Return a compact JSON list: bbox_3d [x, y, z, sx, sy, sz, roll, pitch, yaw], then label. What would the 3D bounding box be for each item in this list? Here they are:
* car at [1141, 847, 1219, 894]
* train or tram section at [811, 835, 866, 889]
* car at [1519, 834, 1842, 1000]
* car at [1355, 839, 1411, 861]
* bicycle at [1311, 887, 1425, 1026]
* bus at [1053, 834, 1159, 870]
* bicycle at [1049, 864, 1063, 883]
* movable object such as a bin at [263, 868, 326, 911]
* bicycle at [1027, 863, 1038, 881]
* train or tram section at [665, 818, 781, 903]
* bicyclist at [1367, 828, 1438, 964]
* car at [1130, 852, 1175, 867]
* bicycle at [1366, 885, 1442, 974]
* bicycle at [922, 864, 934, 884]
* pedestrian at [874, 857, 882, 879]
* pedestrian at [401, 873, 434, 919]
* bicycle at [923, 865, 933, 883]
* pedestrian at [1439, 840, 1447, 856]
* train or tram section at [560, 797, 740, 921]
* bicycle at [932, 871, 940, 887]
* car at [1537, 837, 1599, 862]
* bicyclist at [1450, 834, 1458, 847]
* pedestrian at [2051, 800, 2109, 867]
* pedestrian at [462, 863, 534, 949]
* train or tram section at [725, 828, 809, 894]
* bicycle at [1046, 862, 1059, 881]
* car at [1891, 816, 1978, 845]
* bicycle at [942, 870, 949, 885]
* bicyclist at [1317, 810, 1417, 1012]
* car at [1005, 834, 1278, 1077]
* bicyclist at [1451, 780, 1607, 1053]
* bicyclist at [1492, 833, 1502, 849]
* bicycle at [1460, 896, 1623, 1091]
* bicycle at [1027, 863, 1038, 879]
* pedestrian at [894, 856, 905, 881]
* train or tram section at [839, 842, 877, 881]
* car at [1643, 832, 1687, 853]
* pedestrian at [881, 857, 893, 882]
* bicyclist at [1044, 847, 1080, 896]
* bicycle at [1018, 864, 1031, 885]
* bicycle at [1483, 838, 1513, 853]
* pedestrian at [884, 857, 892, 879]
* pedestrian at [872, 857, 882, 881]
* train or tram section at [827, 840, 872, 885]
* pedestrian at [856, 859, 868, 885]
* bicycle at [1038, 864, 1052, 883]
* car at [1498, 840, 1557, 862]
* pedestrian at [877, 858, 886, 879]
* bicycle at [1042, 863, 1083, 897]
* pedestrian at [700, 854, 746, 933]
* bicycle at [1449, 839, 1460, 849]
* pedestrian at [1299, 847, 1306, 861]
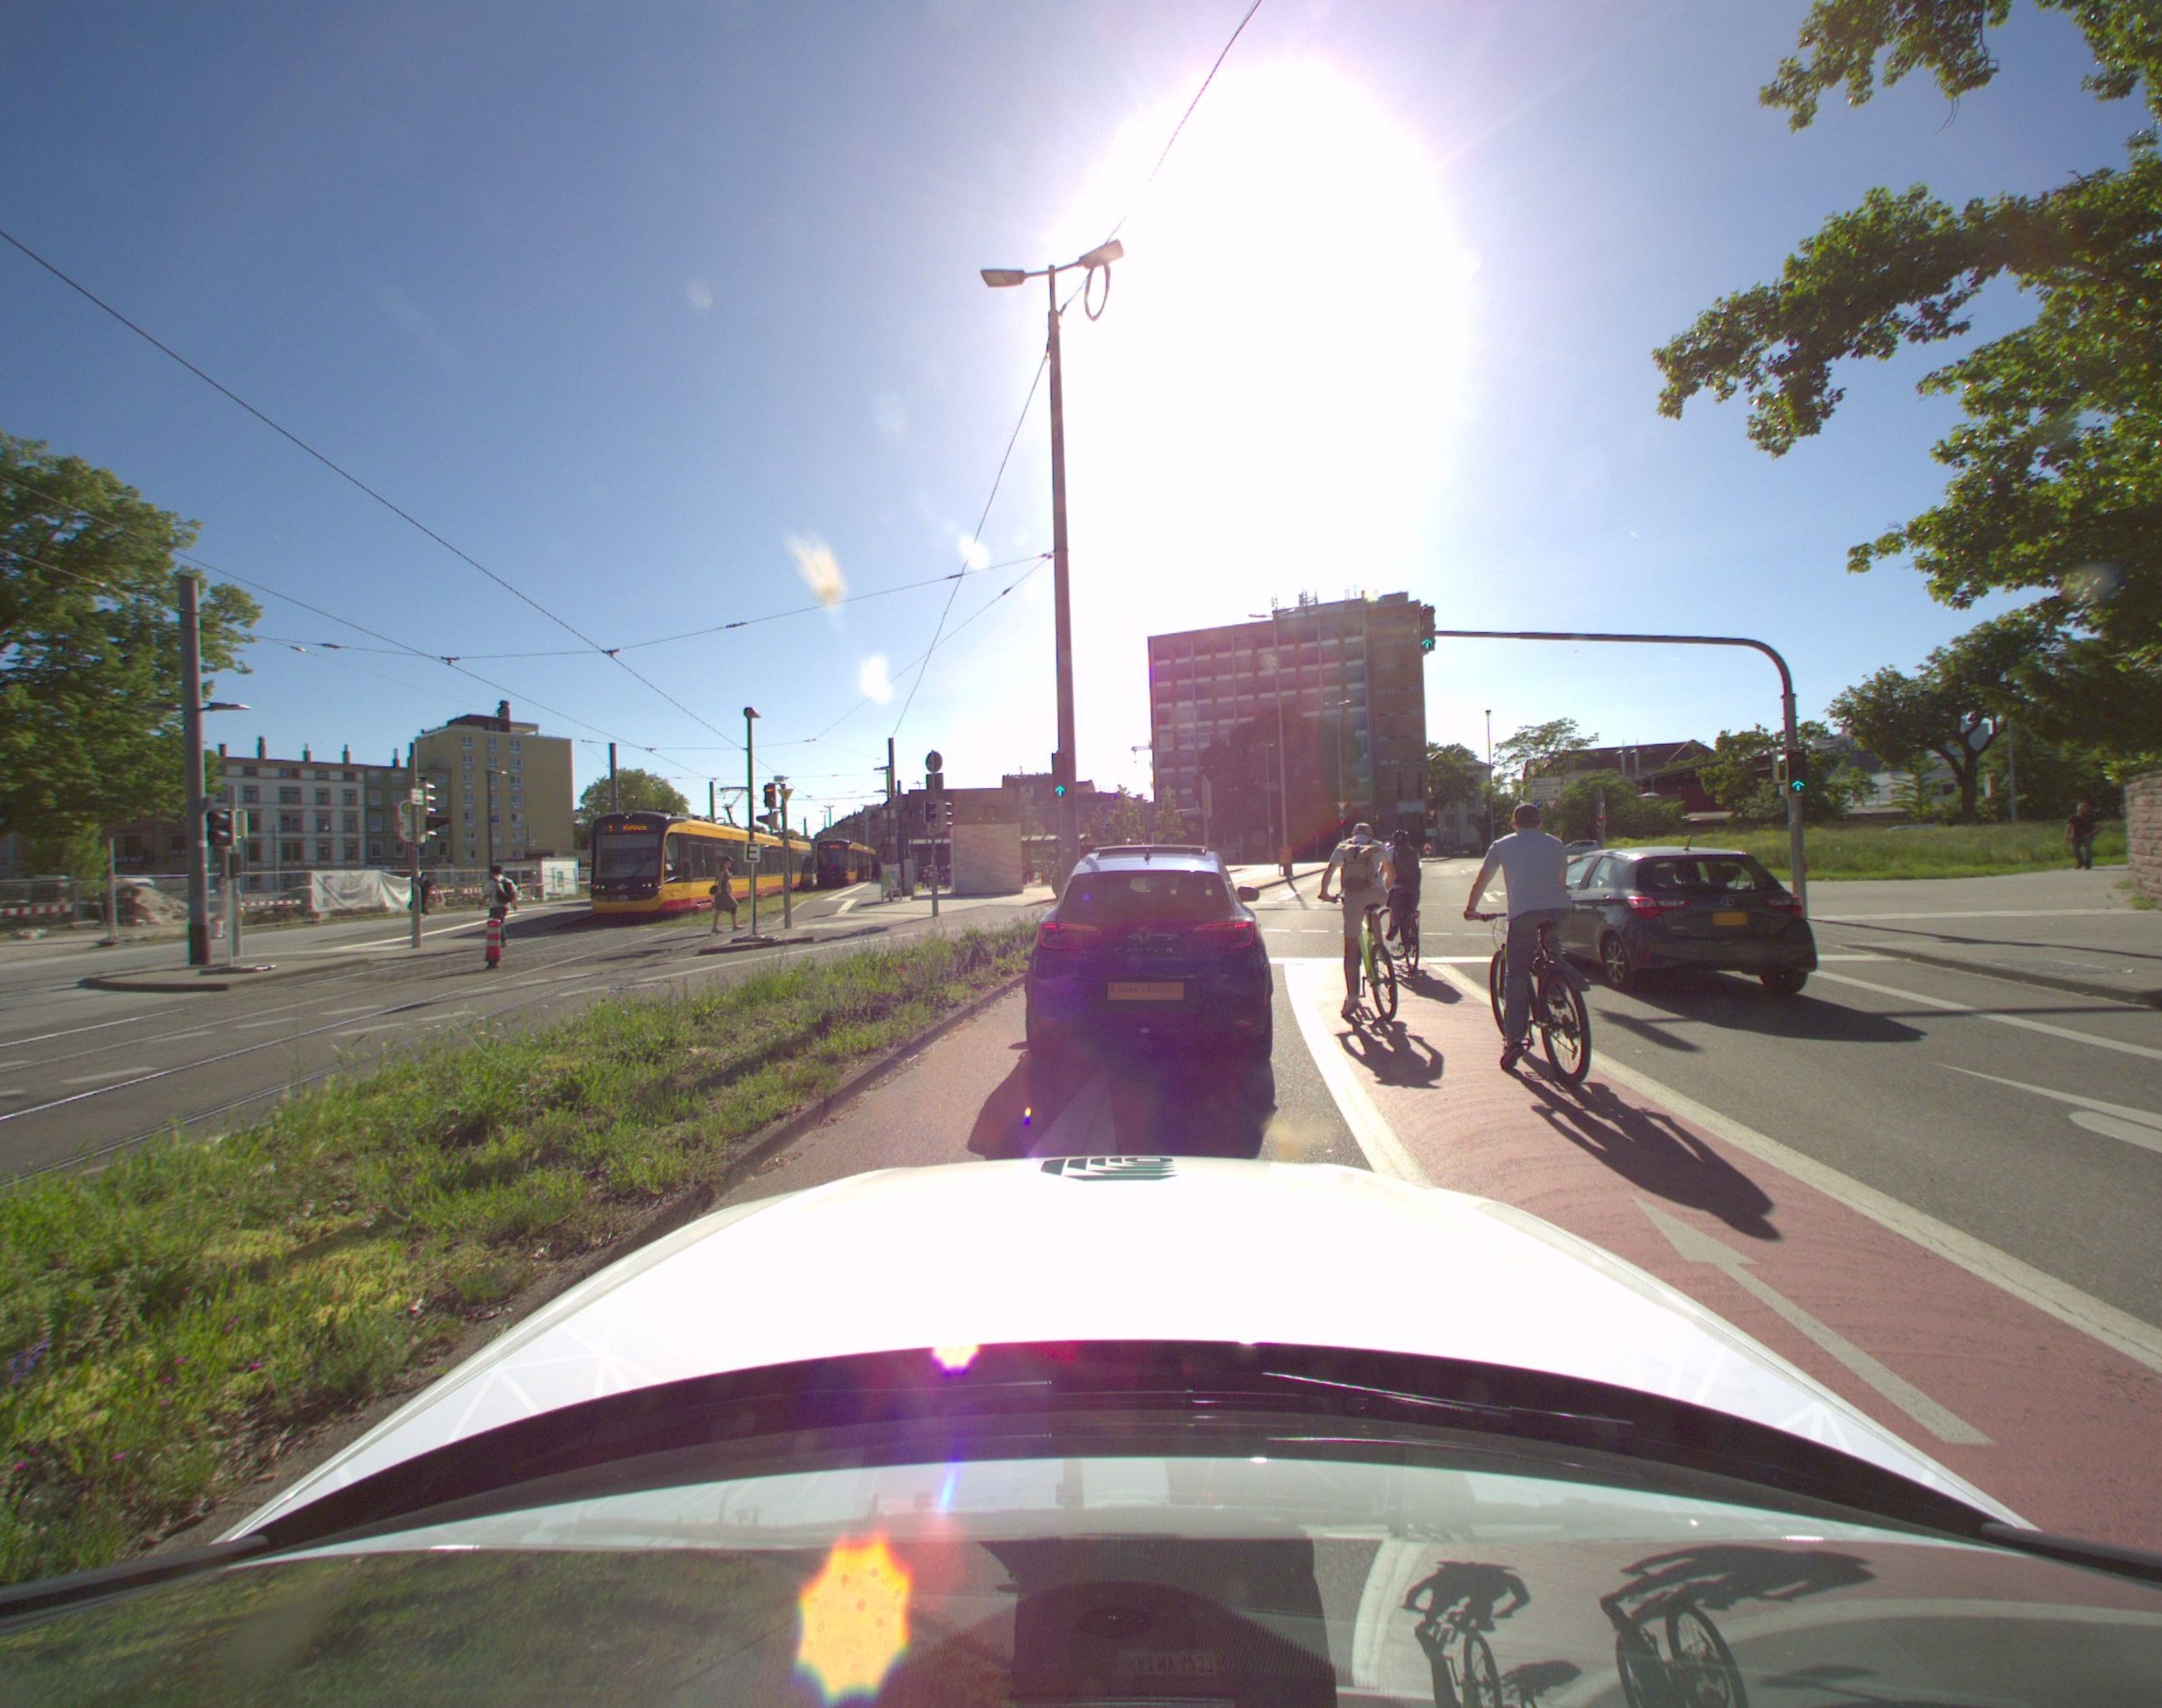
[{"bbox_3d":[3.748,0.566,30.307,1.784,1.393,4.116,-2,2,22],"label":"car"},{"bbox_3d":[-17.598,0.602,59.722,2.873,3.508,10.499,-1,0,-12],"label":"train or tram section"},{"bbox_3d":[6.674,0.588,9.595,1.744,1.541,3.671,1,0,13],"label":"car"},{"bbox_3d":[26.718,-0.350,72.096,4.230,1.568,1.820,-4,-1,-5],"label":"car"},{"bbox_3d":[2.661,0.896,7.740,0.659,1.047,1.895,-2,1,9],"label":"bicycle"},{"bbox_3d":[2.469,-0.119,86.857,12.287,3.396,2.900,-2,-2,42],"label":"bus"},{"bbox_3d":[-1.324,1.043,43.300,0.580,0.961,2.053,-1,-1,-7],"label":"bicycle"},{"bbox_3d":[-53.463,2.409,55.364,3.950,2.796,1.844,-2,-2,26],"label":"movable object such as a bin"},{"bbox_3d":[-2.924,1.090,48.914,0.580,1.088,2.053,-1,-1,-7],"label":"bicycle"},{"bbox_3d":[-16.784,0.302,39.054,2.818,3.508,10.569,-1,0,-11],"label":"train or tram section"},{"bbox_3d":[4.062,0.504,10.350,0.716,1.626,1.059,-1,0,16],"label":"bicyclist"},{"bbox_3d":[7.599,0.630,86.860,4.354,1.522,1.982,-2,-2,40],"label":"car"},{"bbox_3d":[4.126,0.917,10.510,0.717,0.960,1.892,-1,0,16],"label":"bicycle"},{"bbox_3d":[-8.666,1.115,46.265,0.565,1.093,2.023,-1,-1,-9],"label":"bicycle"},{"bbox_3d":[-17.772,1.225,71.164,0.634,1.857,0.699,0,-2,-17],"label":"pedestrian"},{"bbox_3d":[-26.621,1.667,32.677,0.668,1.767,0.796,-2,0,-13],"label":"pedestrian"},{"bbox_3d":[-9.854,1.285,52.605,0.565,1.093,2.023,-1,-1,-9],"label":"bicycle"},{"bbox_3d":[38.355,-0.644,86.296,0.550,1.670,0.479,-2,-2,39],"label":"pedestrian"},{"bbox_3d":[-14.691,0.183,28.874,2.820,3.508,10.433,-2,0,-12],"label":"train or tram section"},{"bbox_3d":[-8.536,1.451,47.979,0.422,0.938,1.300,0,-1,-13],"label":"bicycle"},{"bbox_3d":[43.788,-0.372,73.233,4.605,2.014,2.013,-2,-2,33],"label":"car"},{"bbox_3d":[42.582,-1.518,92.953,0.612,1.444,0.824,-2,0,43],"label":"bicyclist"},{"bbox_3d":[28.307,-0.571,23.073,1.052,1.832,0.754,-2,-1,-27],"label":"pedestrian"},{"bbox_3d":[-12.927,1.136,18.078,1.014,1.832,0.759,-2,-1,-4],"label":"pedestrian"},{"bbox_3d":[-18.855,0.427,49.648,2.818,3.508,11.166,-1,0,-11],"label":"train or tram section"},{"bbox_3d":[-1.717,1.069,48.957,0.580,1.088,2.053,-1,-1,-7],"label":"bicycle"},{"bbox_3d":[67.014,-1.811,64.034,4.305,2.014,2.013,-2,-2,33],"label":"car"},{"bbox_3d":[-8.812,1.499,53.011,0.421,0.938,1.374,0,-1,-9],"label":"bicycle"},{"bbox_3d":[2.636,0.503,7.606,0.660,1.747,1.008,-2,0,9],"label":"bicyclist"},{"bbox_3d":[0.633,0.676,7.281,1.813,1.600,3.666,-1,0,8],"label":"car"},{"bbox_3d":[3.180,0.411,5.881,0.744,1.776,1.018,-2,-1,17],"label":"bicyclist"},{"bbox_3d":[44.058,-1.352,86.200,0.850,1.692,0.889,-2,-2,27],"label":"bicyclist"},{"bbox_3d":[3.228,0.894,5.879,0.606,1.077,1.838,-2,0,17],"label":"bicycle"},{"bbox_3d":[-3.356,1.153,56.403,0.580,1.088,1.865,-1,-1,-9],"label":"bicycle"},{"bbox_3d":[-14.108,1.135,63.377,0.848,1.883,0.757,-1,-2,-14],"label":"pedestrian"},{"bbox_3d":[-21.885,0.765,80.338,2.873,3.508,10.499,-1,0,-12],"label":"train or tram section"},{"bbox_3d":[55.215,-1.081,76.953,3.873,1.935,1.889,0,-2,-30],"label":"car"},{"bbox_3d":[-14.927,1.190,62.616,0.848,1.883,0.757,-1,-2,-14],"label":"pedestrian"},{"bbox_3d":[-0.639,0.590,27.985,0.873,1.644,1.065,-3,-1,16],"label":"bicyclist"},{"bbox_3d":[-2.966,1.062,42.876,0.580,1.058,1.812,-1,-1,-7],"label":"bicycle"},{"bbox_3d":[44.132,-0.885,86.156,2.775,1.541,0.889,-2,-2,27],"label":"bicycle"},{"bbox_3d":[-16.970,1.235,71.670,0.632,1.857,0.700,-1,-2,-9],"label":"pedestrian"},{"bbox_3d":[-15.799,1.147,63.058,0.604,1.857,0.792,-1,-2,-9],"label":"pedestrian"},{"bbox_3d":[-19.767,0.723,70.042,2.873,3.508,10.499,-1,0,-12],"label":"train or tram section"},{"bbox_3d":[-16.480,1.349,61.305,0.848,1.883,0.757,-1,-2,-14],"label":"pedestrian"},{"bbox_3d":[-1.937,1.052,43.227,0.580,0.961,2.053,-1,-1,-7],"label":"bicycle"},{"bbox_3d":[42.565,-0.256,77.638,4.605,1.900,2.013,-2,-2,38],"label":"car"},{"bbox_3d":[-18.084,1.305,73.785,0.700,1.857,0.632,-1,-2,-10],"label":"pedestrian"},{"bbox_3d":[-0.614,0.881,27.961,0.767,1.080,2.044,-3,-1,16],"label":"bicycle"},{"bbox_3d":[-8.777,0.941,20.014,0.902,1.850,0.759,-2,2,-20],"label":"pedestrian"},{"bbox_3d":[42.653,-1.177,93.035,0.603,1.093,1.682,-3,0,42],"label":"bicycle"},{"bbox_3d":[26.714,-0.028,98.250,0.555,1.670,0.479,-2,-2,39],"label":"pedestrian"}]
